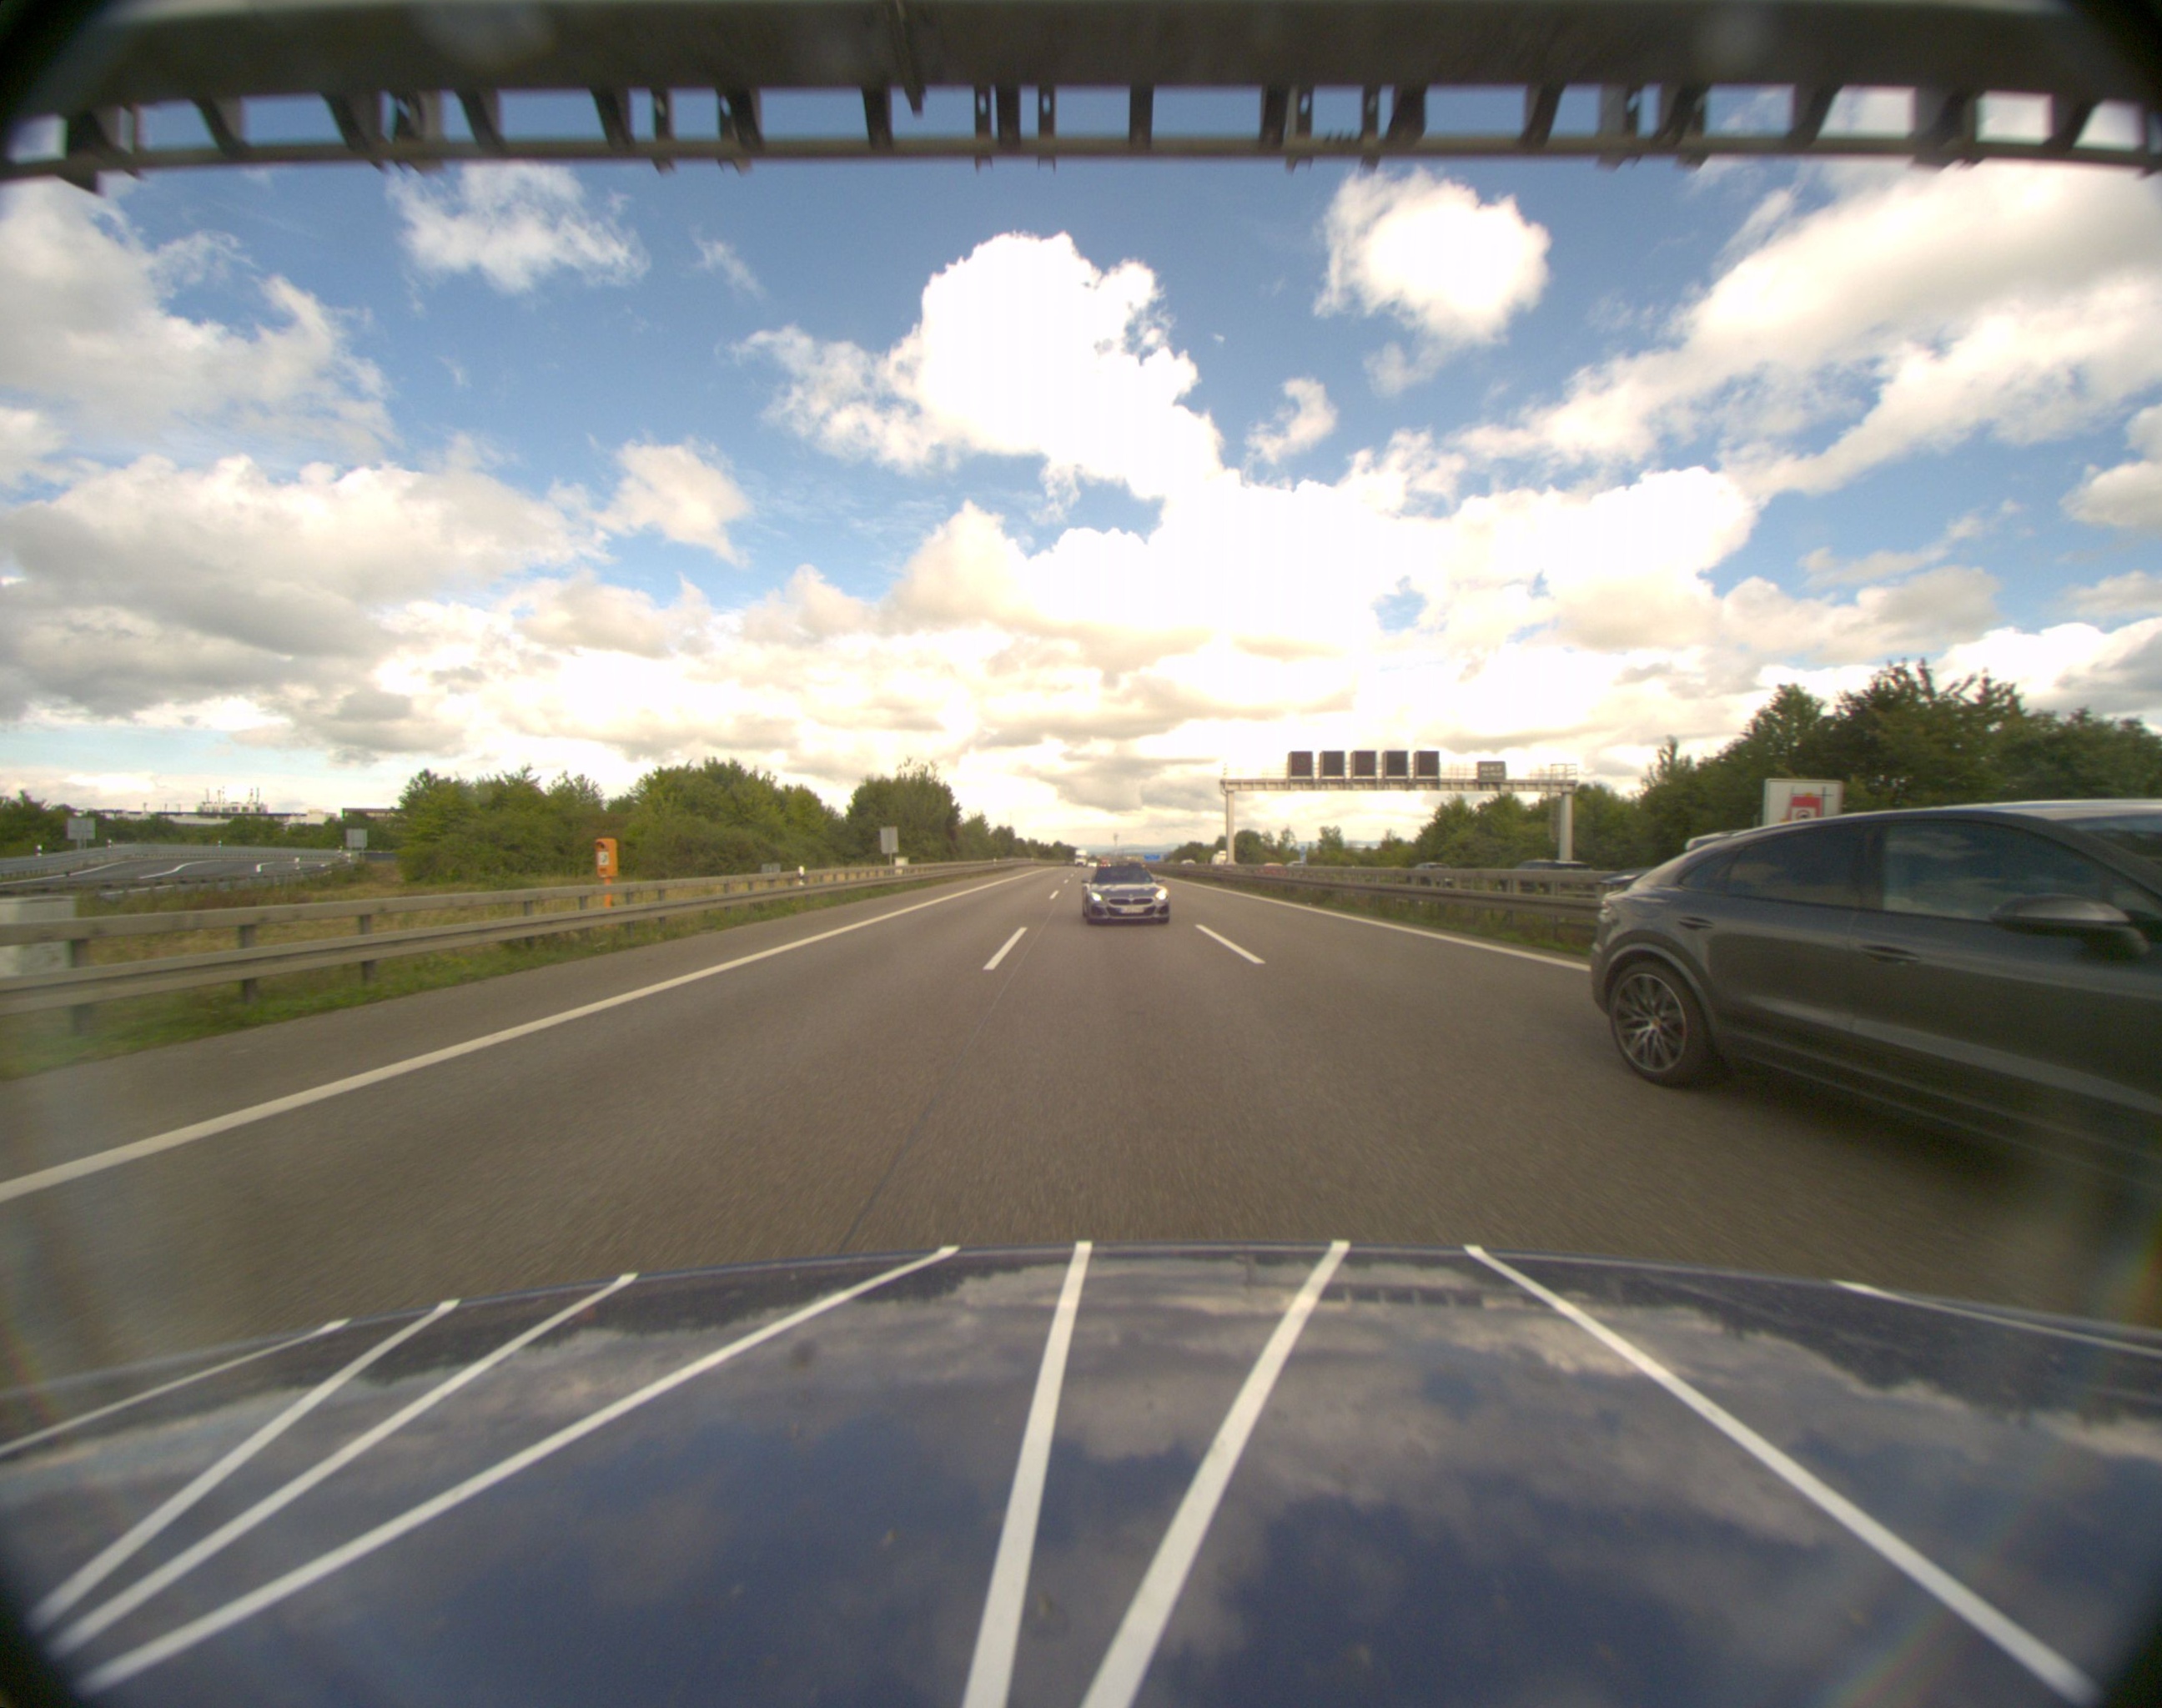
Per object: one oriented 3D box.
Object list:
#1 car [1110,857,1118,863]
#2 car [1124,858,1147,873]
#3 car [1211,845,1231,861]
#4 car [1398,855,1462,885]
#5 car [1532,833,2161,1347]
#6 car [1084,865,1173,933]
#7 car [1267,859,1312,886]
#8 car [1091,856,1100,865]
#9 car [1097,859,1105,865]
[{"bbox_3d":[7.159,1.276,164.105,1.593,1.307,3.977,1,1,0],"label":"car"},{"bbox_3d":[5.041,1.062,70.417,1.811,1.307,4.247,1,1,0],"label":"car"},{"bbox_3d":[21.083,-0.143,114.292,2.003,2.271,4.577,-1,1,-1],"label":"car"},{"bbox_3d":[20.984,0.923,45.901,1.731,1.626,4.430,-1,1,-1],"label":"car"},{"bbox_3d":[4.394,0.736,3.043,1.917,1.626,5.499,-1,1,0],"label":"car"},{"bbox_3d":[1.019,0.986,18.599,1.878,1.295,4.941,-1,1,0],"label":"car"},{"bbox_3d":[13.875,1.198,50.838,1.731,1.626,4.430,-1,1,-1],"label":"car"},{"bbox_3d":[2.700,1.176,142.390,1.737,1.608,4.000,-1,0,0],"label":"car"},{"bbox_3d":[5.602,2.229,210.513,1.999,1.619,4.429,0,0,-1],"label":"car"}]
